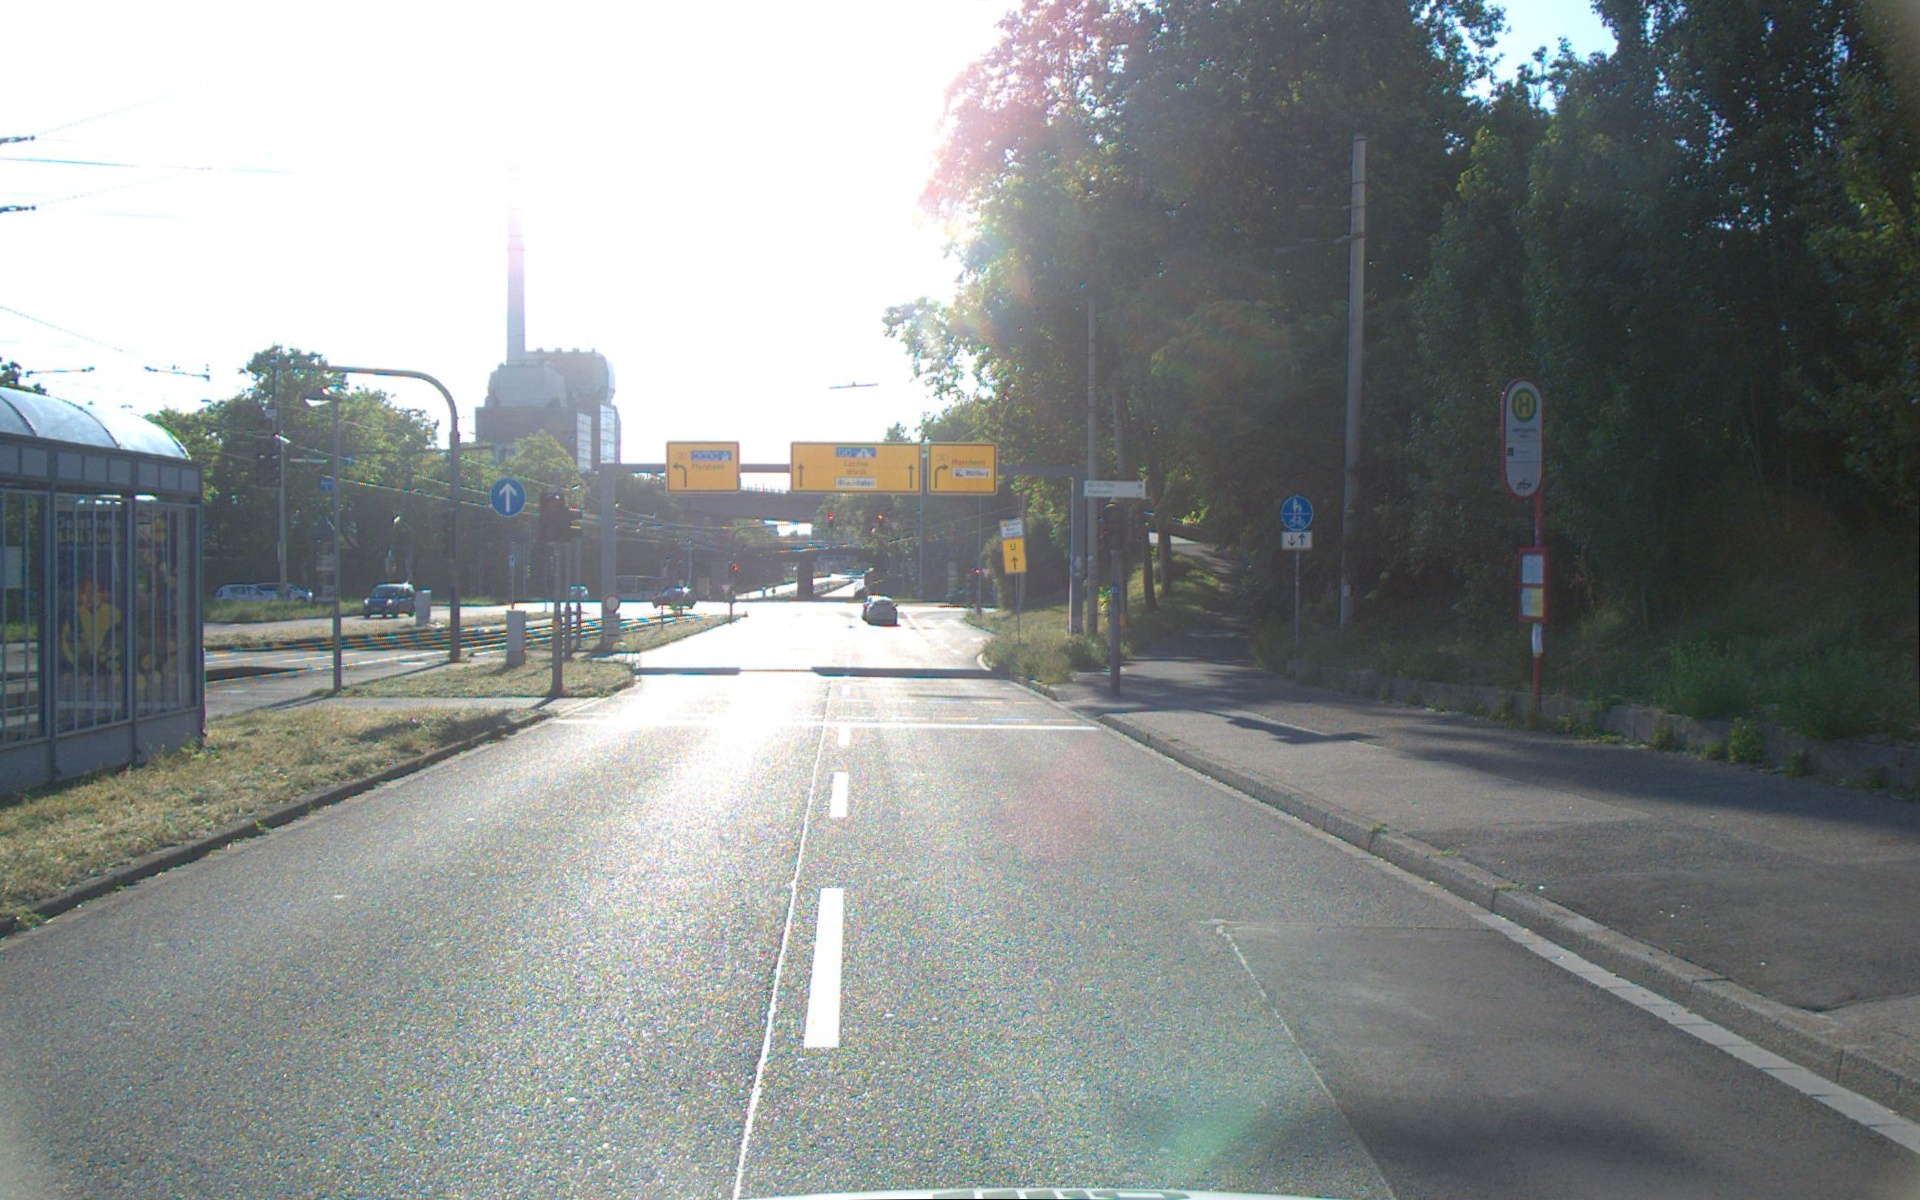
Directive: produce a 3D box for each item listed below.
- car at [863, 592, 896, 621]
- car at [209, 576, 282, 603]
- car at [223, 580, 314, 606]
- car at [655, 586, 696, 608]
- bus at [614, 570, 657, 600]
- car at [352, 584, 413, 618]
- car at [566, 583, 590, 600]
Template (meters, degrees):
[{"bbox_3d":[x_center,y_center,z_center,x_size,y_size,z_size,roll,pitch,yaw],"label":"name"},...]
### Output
[{"bbox_3d":[-4.573,0.335,93.600,1.702,1.531,3.997,0,1,-4],"label":"car"},{"bbox_3d":[-44.034,-0.642,101.953,3.944,1.602,1.677,0,1,-30],"label":"car"},{"bbox_3d":[-44.146,-0.436,105.620,5.286,1.602,1.726,0,1,-27],"label":"car"},{"bbox_3d":[-21.407,-0.226,124.378,1.719,1.531,3.957,-1,1,-32],"label":"car"},{"bbox_3d":[-36.381,-1.655,185.788,2.492,3.185,12.915,0,0,-1],"label":"bus"},{"bbox_3d":[-31.731,0.031,90.962,1.894,1.818,4.259,0,1,-1],"label":"car"},{"bbox_3d":[-35.947,-0.771,155.657,1.575,1.538,4.004,1,1,-5],"label":"car"}]
